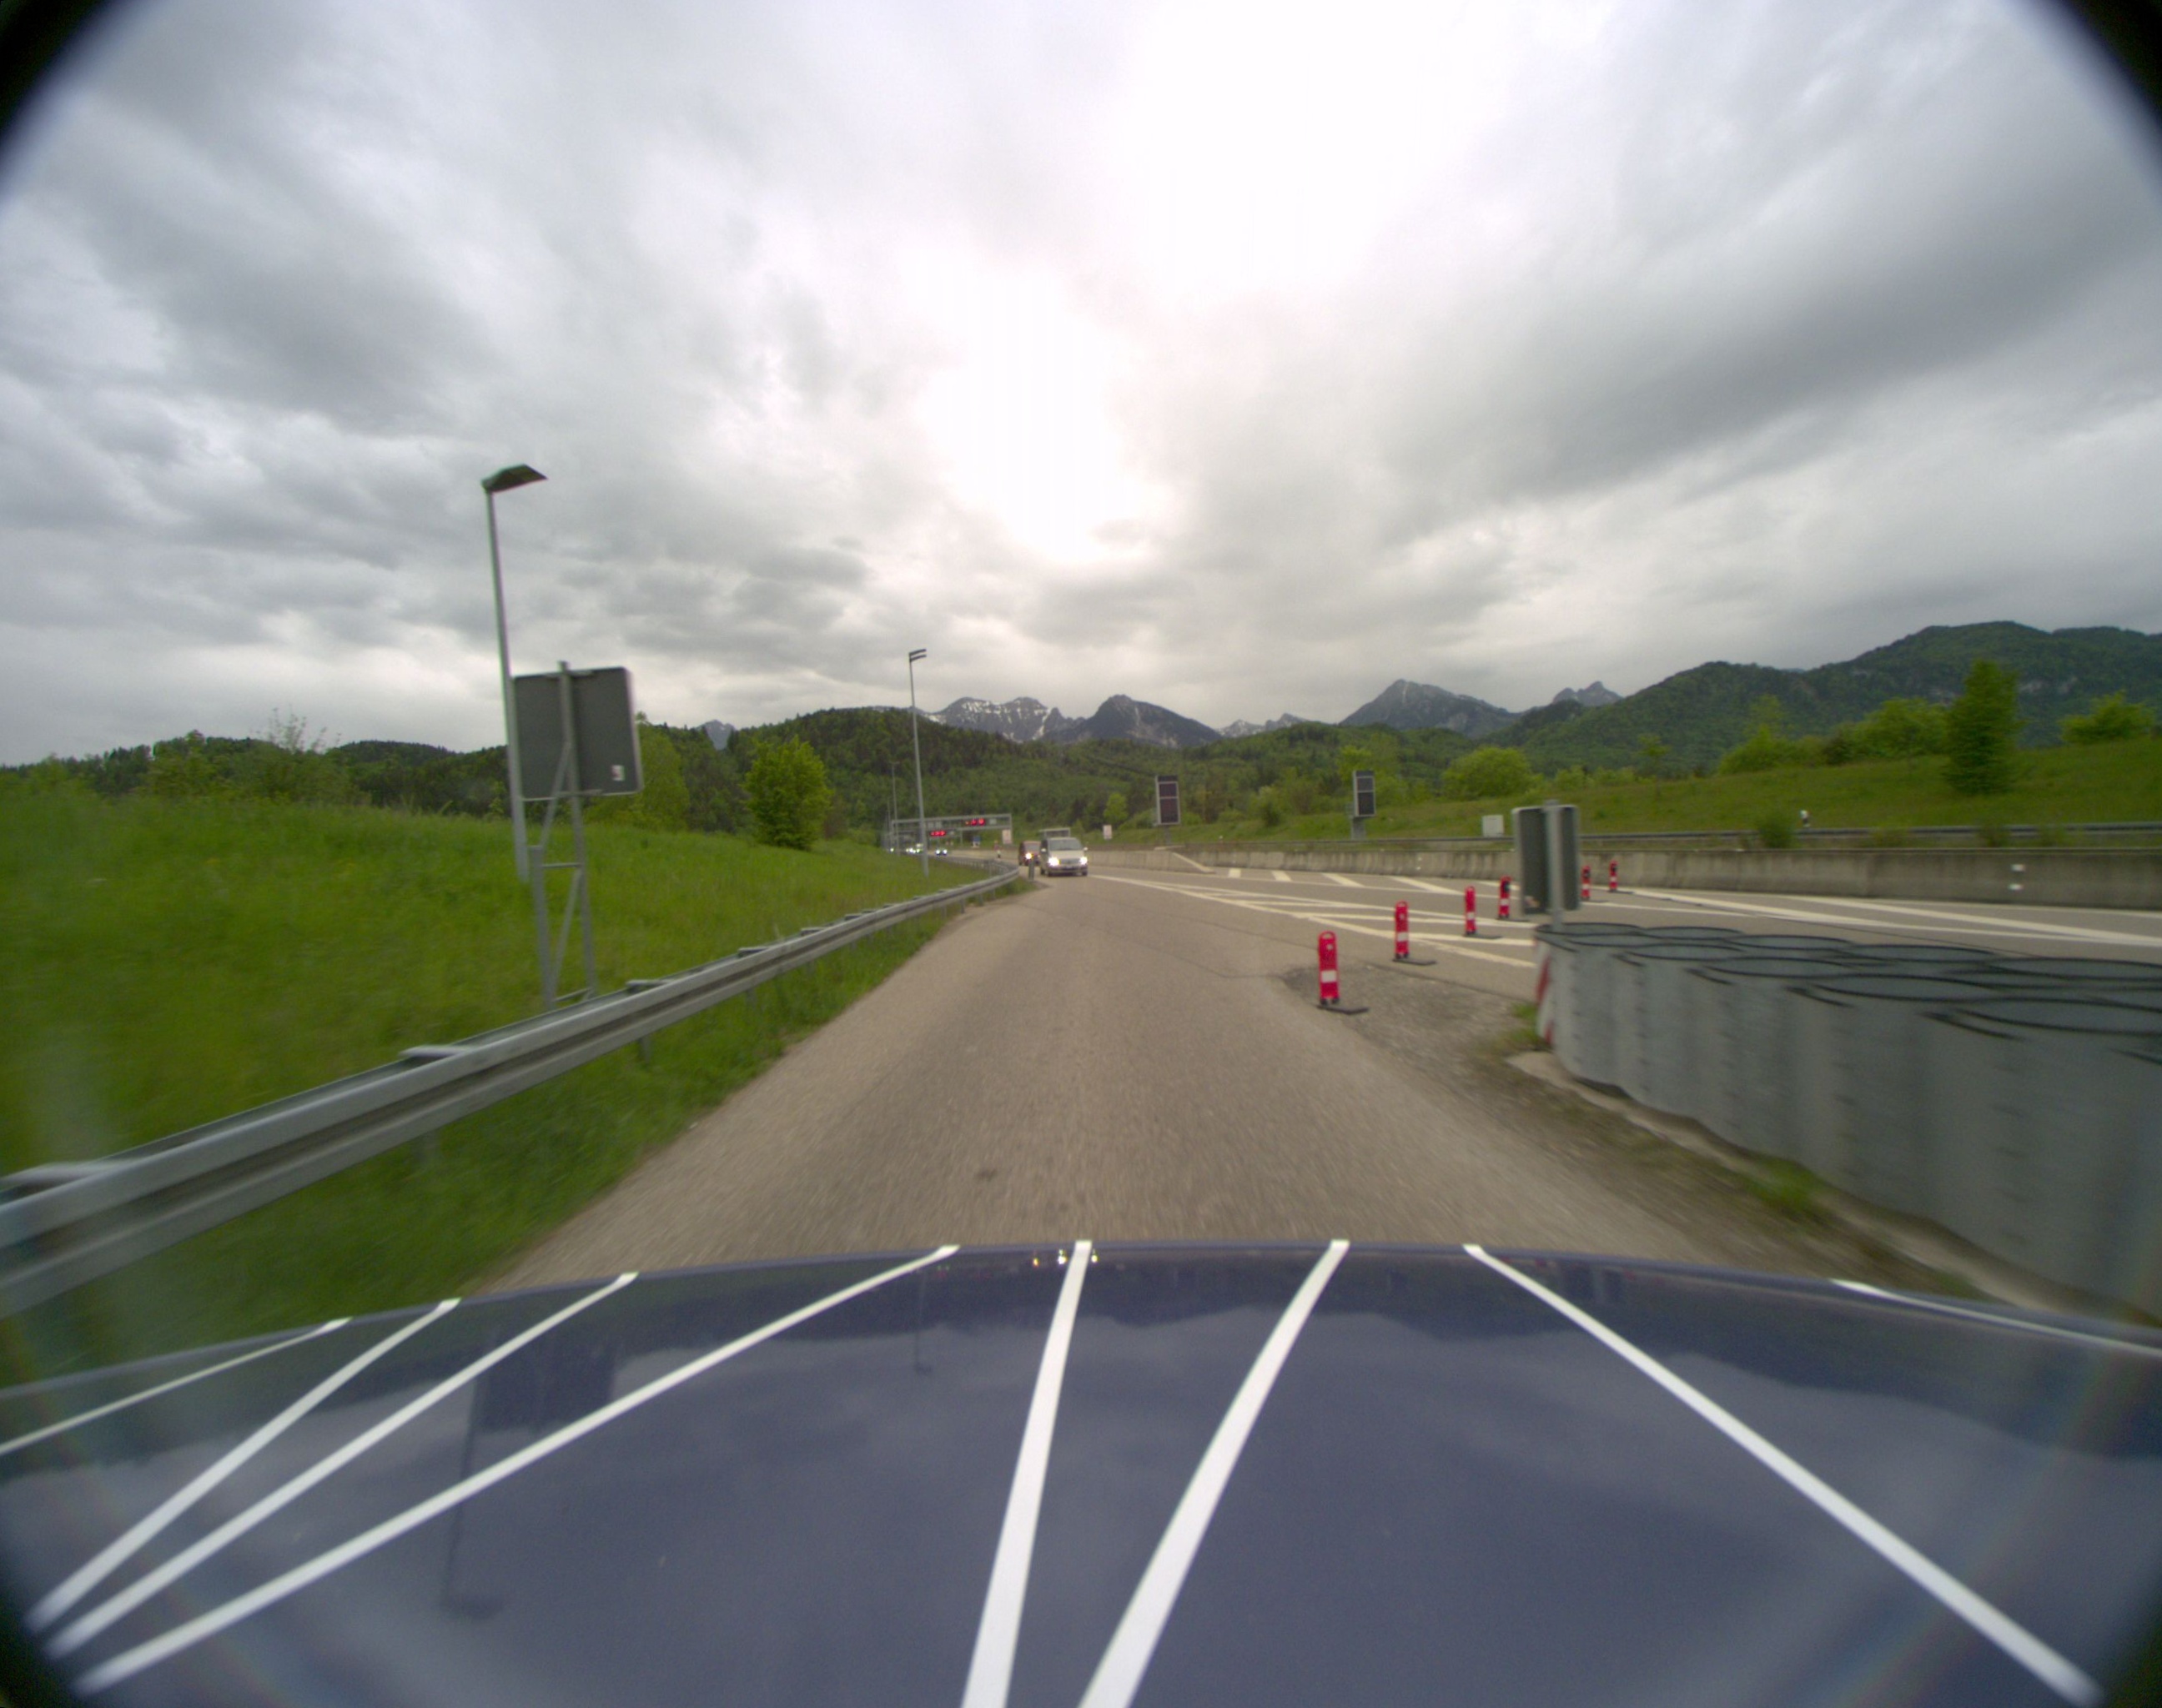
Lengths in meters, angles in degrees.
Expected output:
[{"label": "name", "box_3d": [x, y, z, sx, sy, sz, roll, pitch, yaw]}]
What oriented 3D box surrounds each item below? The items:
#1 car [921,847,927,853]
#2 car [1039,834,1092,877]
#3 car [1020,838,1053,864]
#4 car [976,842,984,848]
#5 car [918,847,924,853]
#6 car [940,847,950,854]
[{"label": "car", "box_3d": [-45.551, -1.209, 220.567, 1.632, 1.688, 3.492, -2, 1, -10]}, {"label": "car", "box_3d": [-0.848, 0.026, 37.458, 1.924, 1.871, 5.134, -3, 1, -8]}, {"label": "car", "box_3d": [-3.334, -0.235, 55.757, 1.758, 1.795, 3.995, -2, 1, -12]}, {"label": "car", "box_3d": [-28.676, -2.580, 215.590, 1.915, 1.688, 3.492, -2, 1, -10]}, {"label": "car", "box_3d": [-51.667, -1.348, 245.606, 1.632, 1.688, 3.492, -2, 1, -10]}, {"label": "car", "box_3d": [-25.773, -0.623, 143.856, 1.665, 1.329, 3.787, -2, 1, -14]}]
